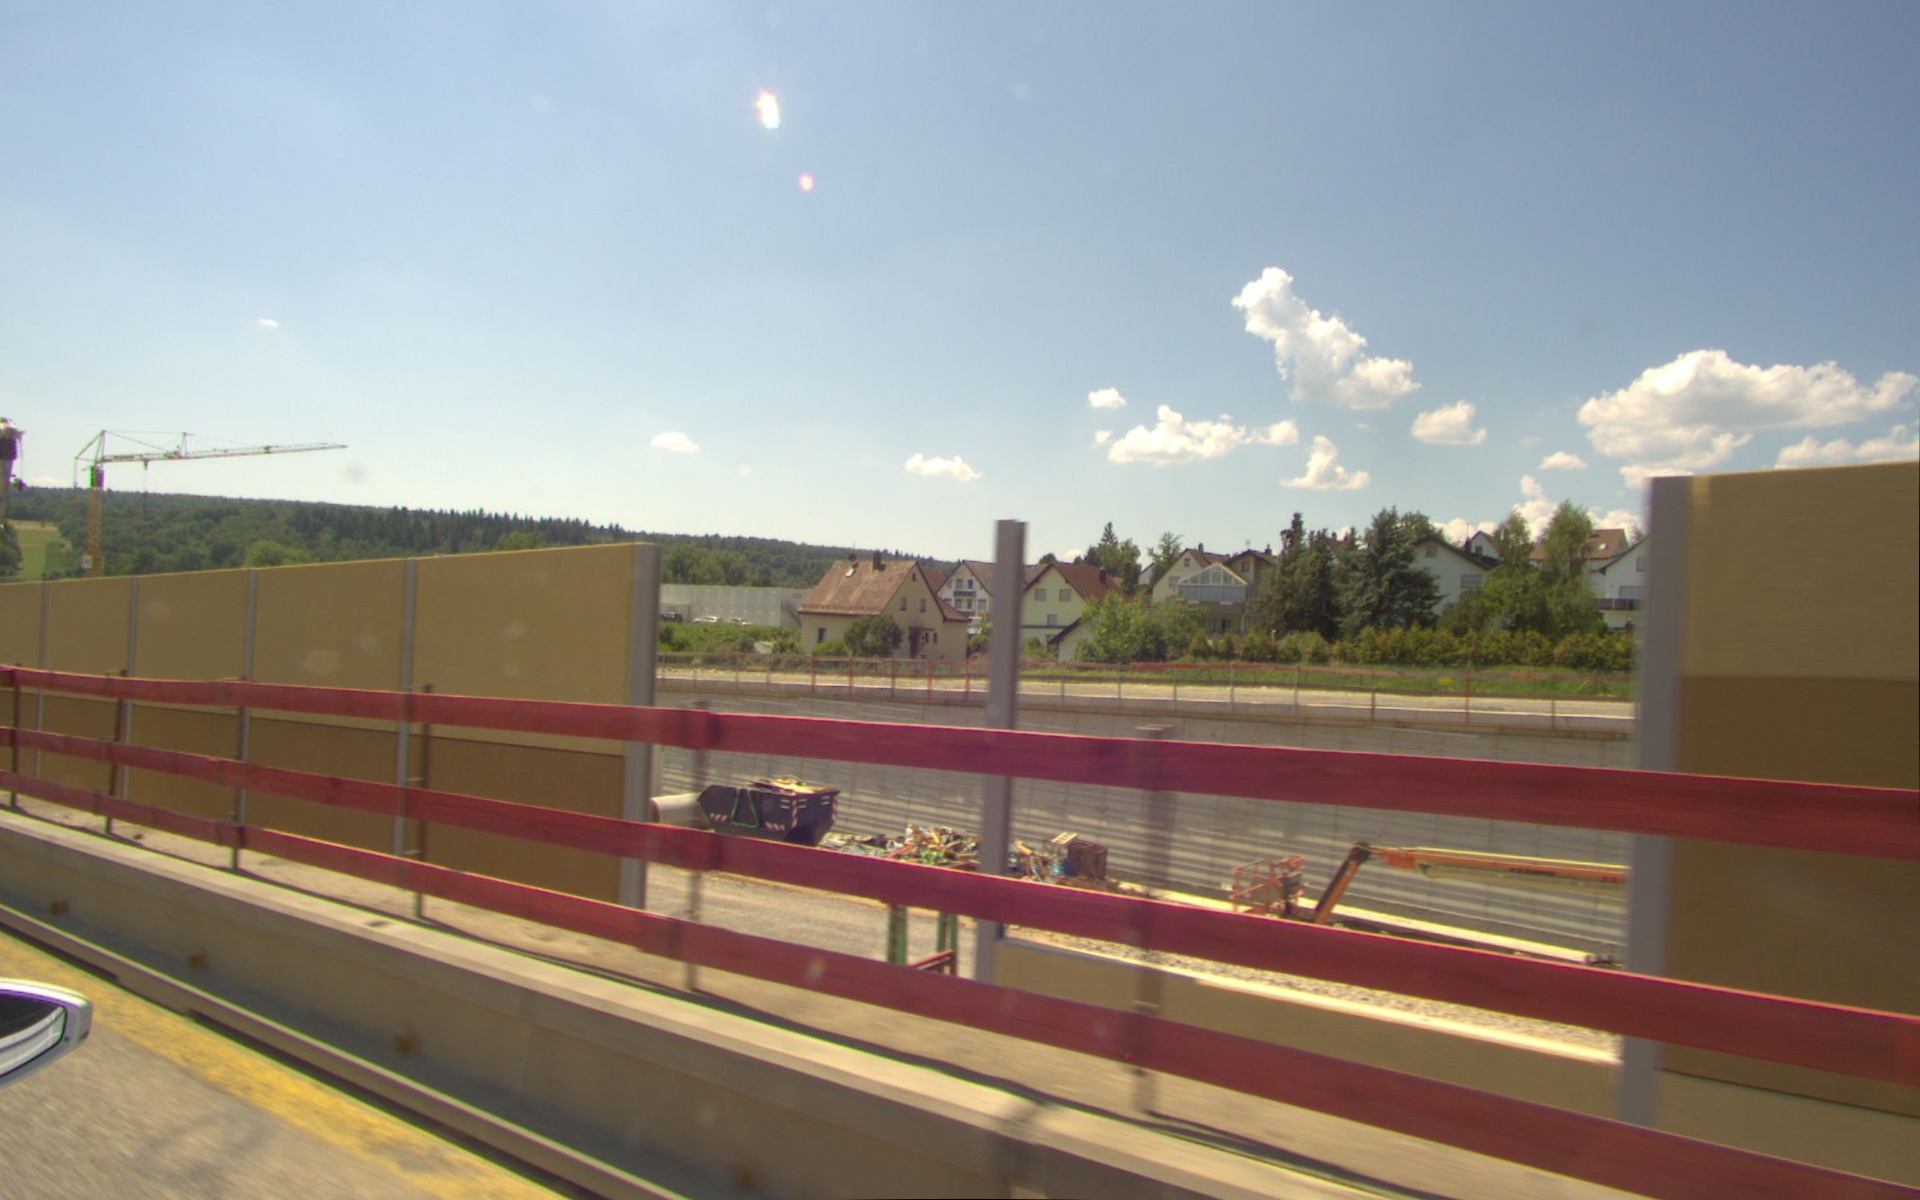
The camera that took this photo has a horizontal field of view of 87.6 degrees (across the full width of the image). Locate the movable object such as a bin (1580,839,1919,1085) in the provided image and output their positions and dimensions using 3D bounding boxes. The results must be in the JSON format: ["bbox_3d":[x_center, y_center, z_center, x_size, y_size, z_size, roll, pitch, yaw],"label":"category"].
[{"bbox_3d":[12.530,5.566,16.030,4.390,2.521,2.605,0,-3,32],"label":"movable object such as a bin"}]
